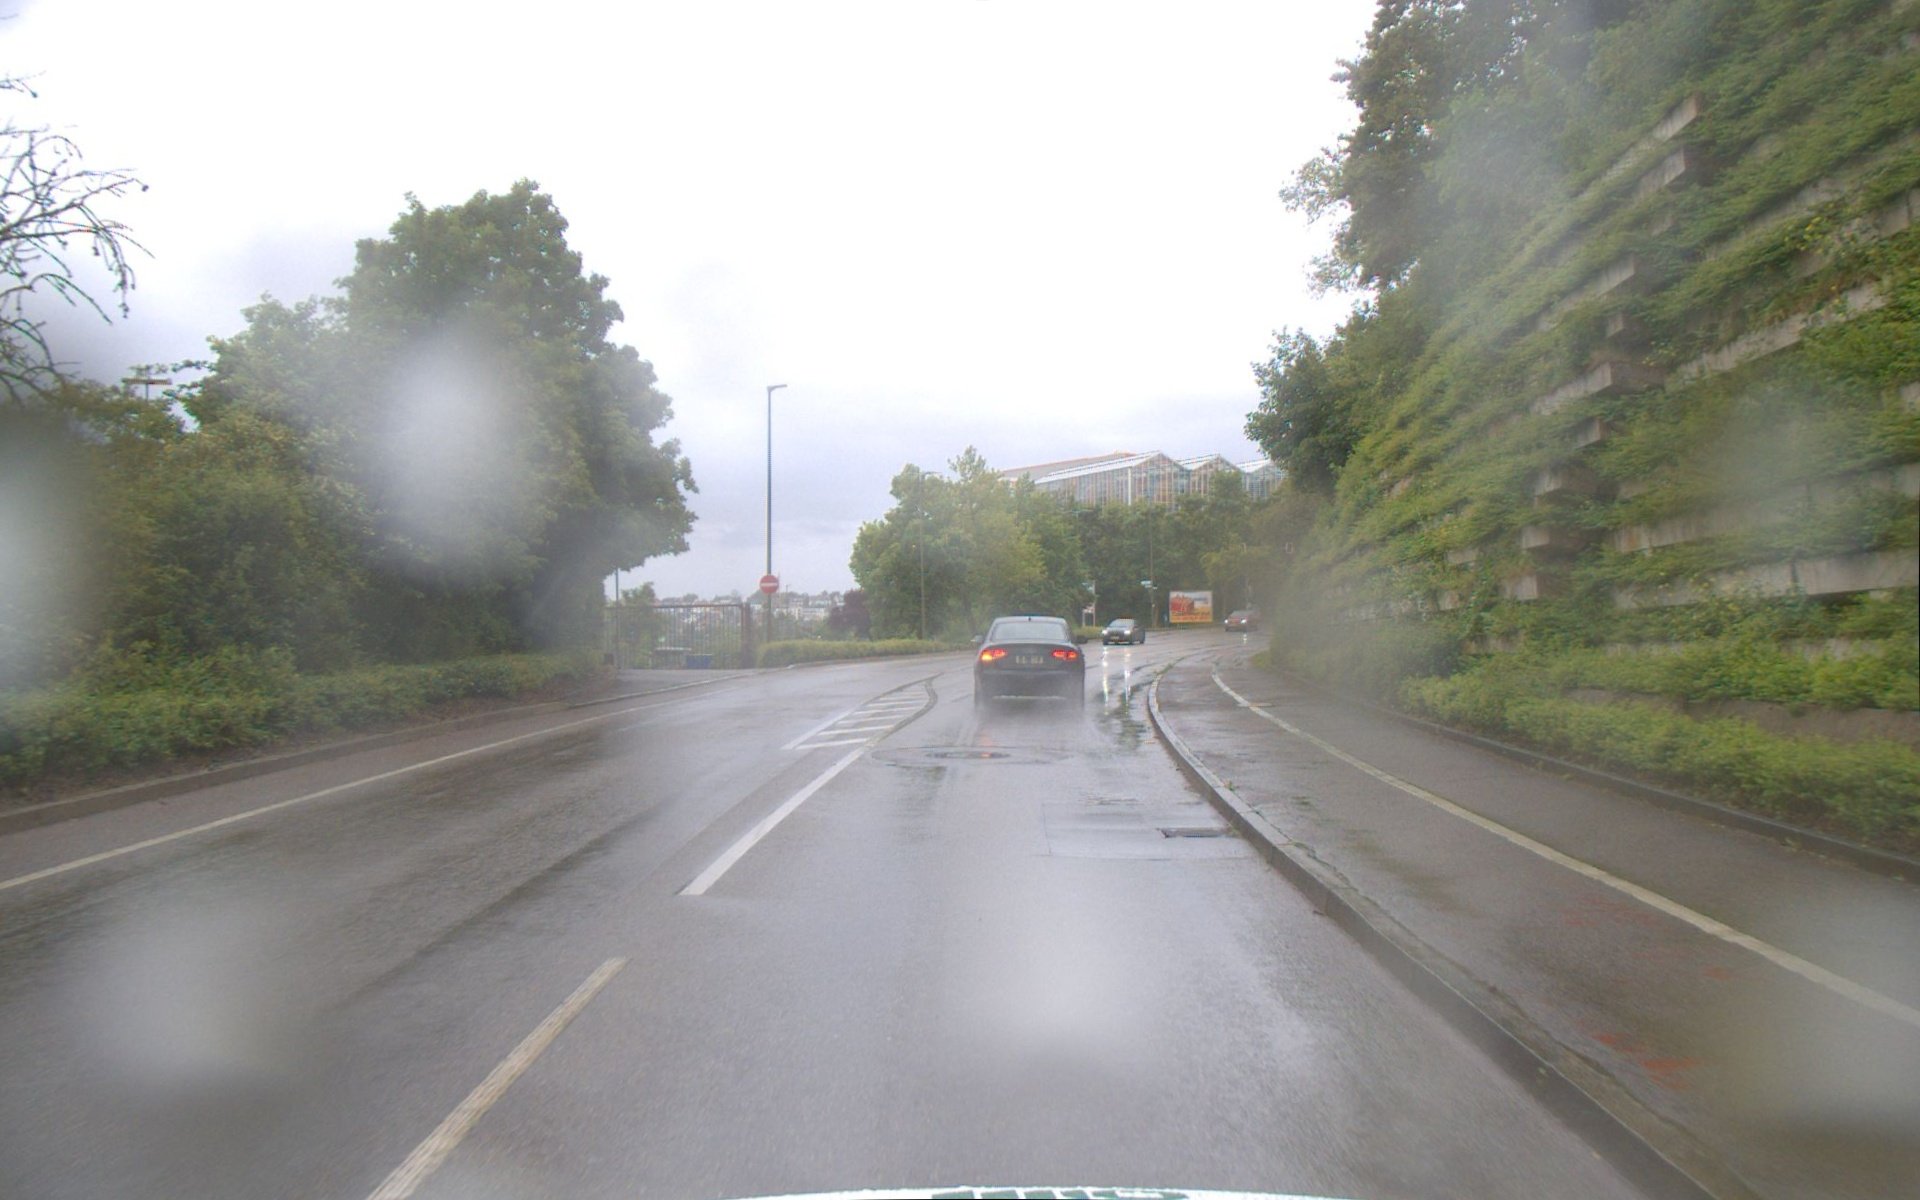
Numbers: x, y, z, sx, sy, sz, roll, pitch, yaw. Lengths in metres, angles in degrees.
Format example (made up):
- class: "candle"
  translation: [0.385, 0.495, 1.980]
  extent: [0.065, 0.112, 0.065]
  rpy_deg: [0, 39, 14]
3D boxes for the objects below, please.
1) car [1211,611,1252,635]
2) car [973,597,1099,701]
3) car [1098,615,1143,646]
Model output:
- class: "car"
  translation: [20.661, 1.745, 125.827]
  extent: [1.954, 1.771, 3.996]
  rpy_deg: [-1, 0, 26]
- class: "car"
  translation: [1.155, 0.733, 26.918]
  extent: [1.854, 1.518, 4.207]
  rpy_deg: [1, 0, 0]
- class: "car"
  translation: [9.522, 1.804, 97.932]
  extent: [1.951, 1.771, 4.003]
  rpy_deg: [-1, 0, 15]
